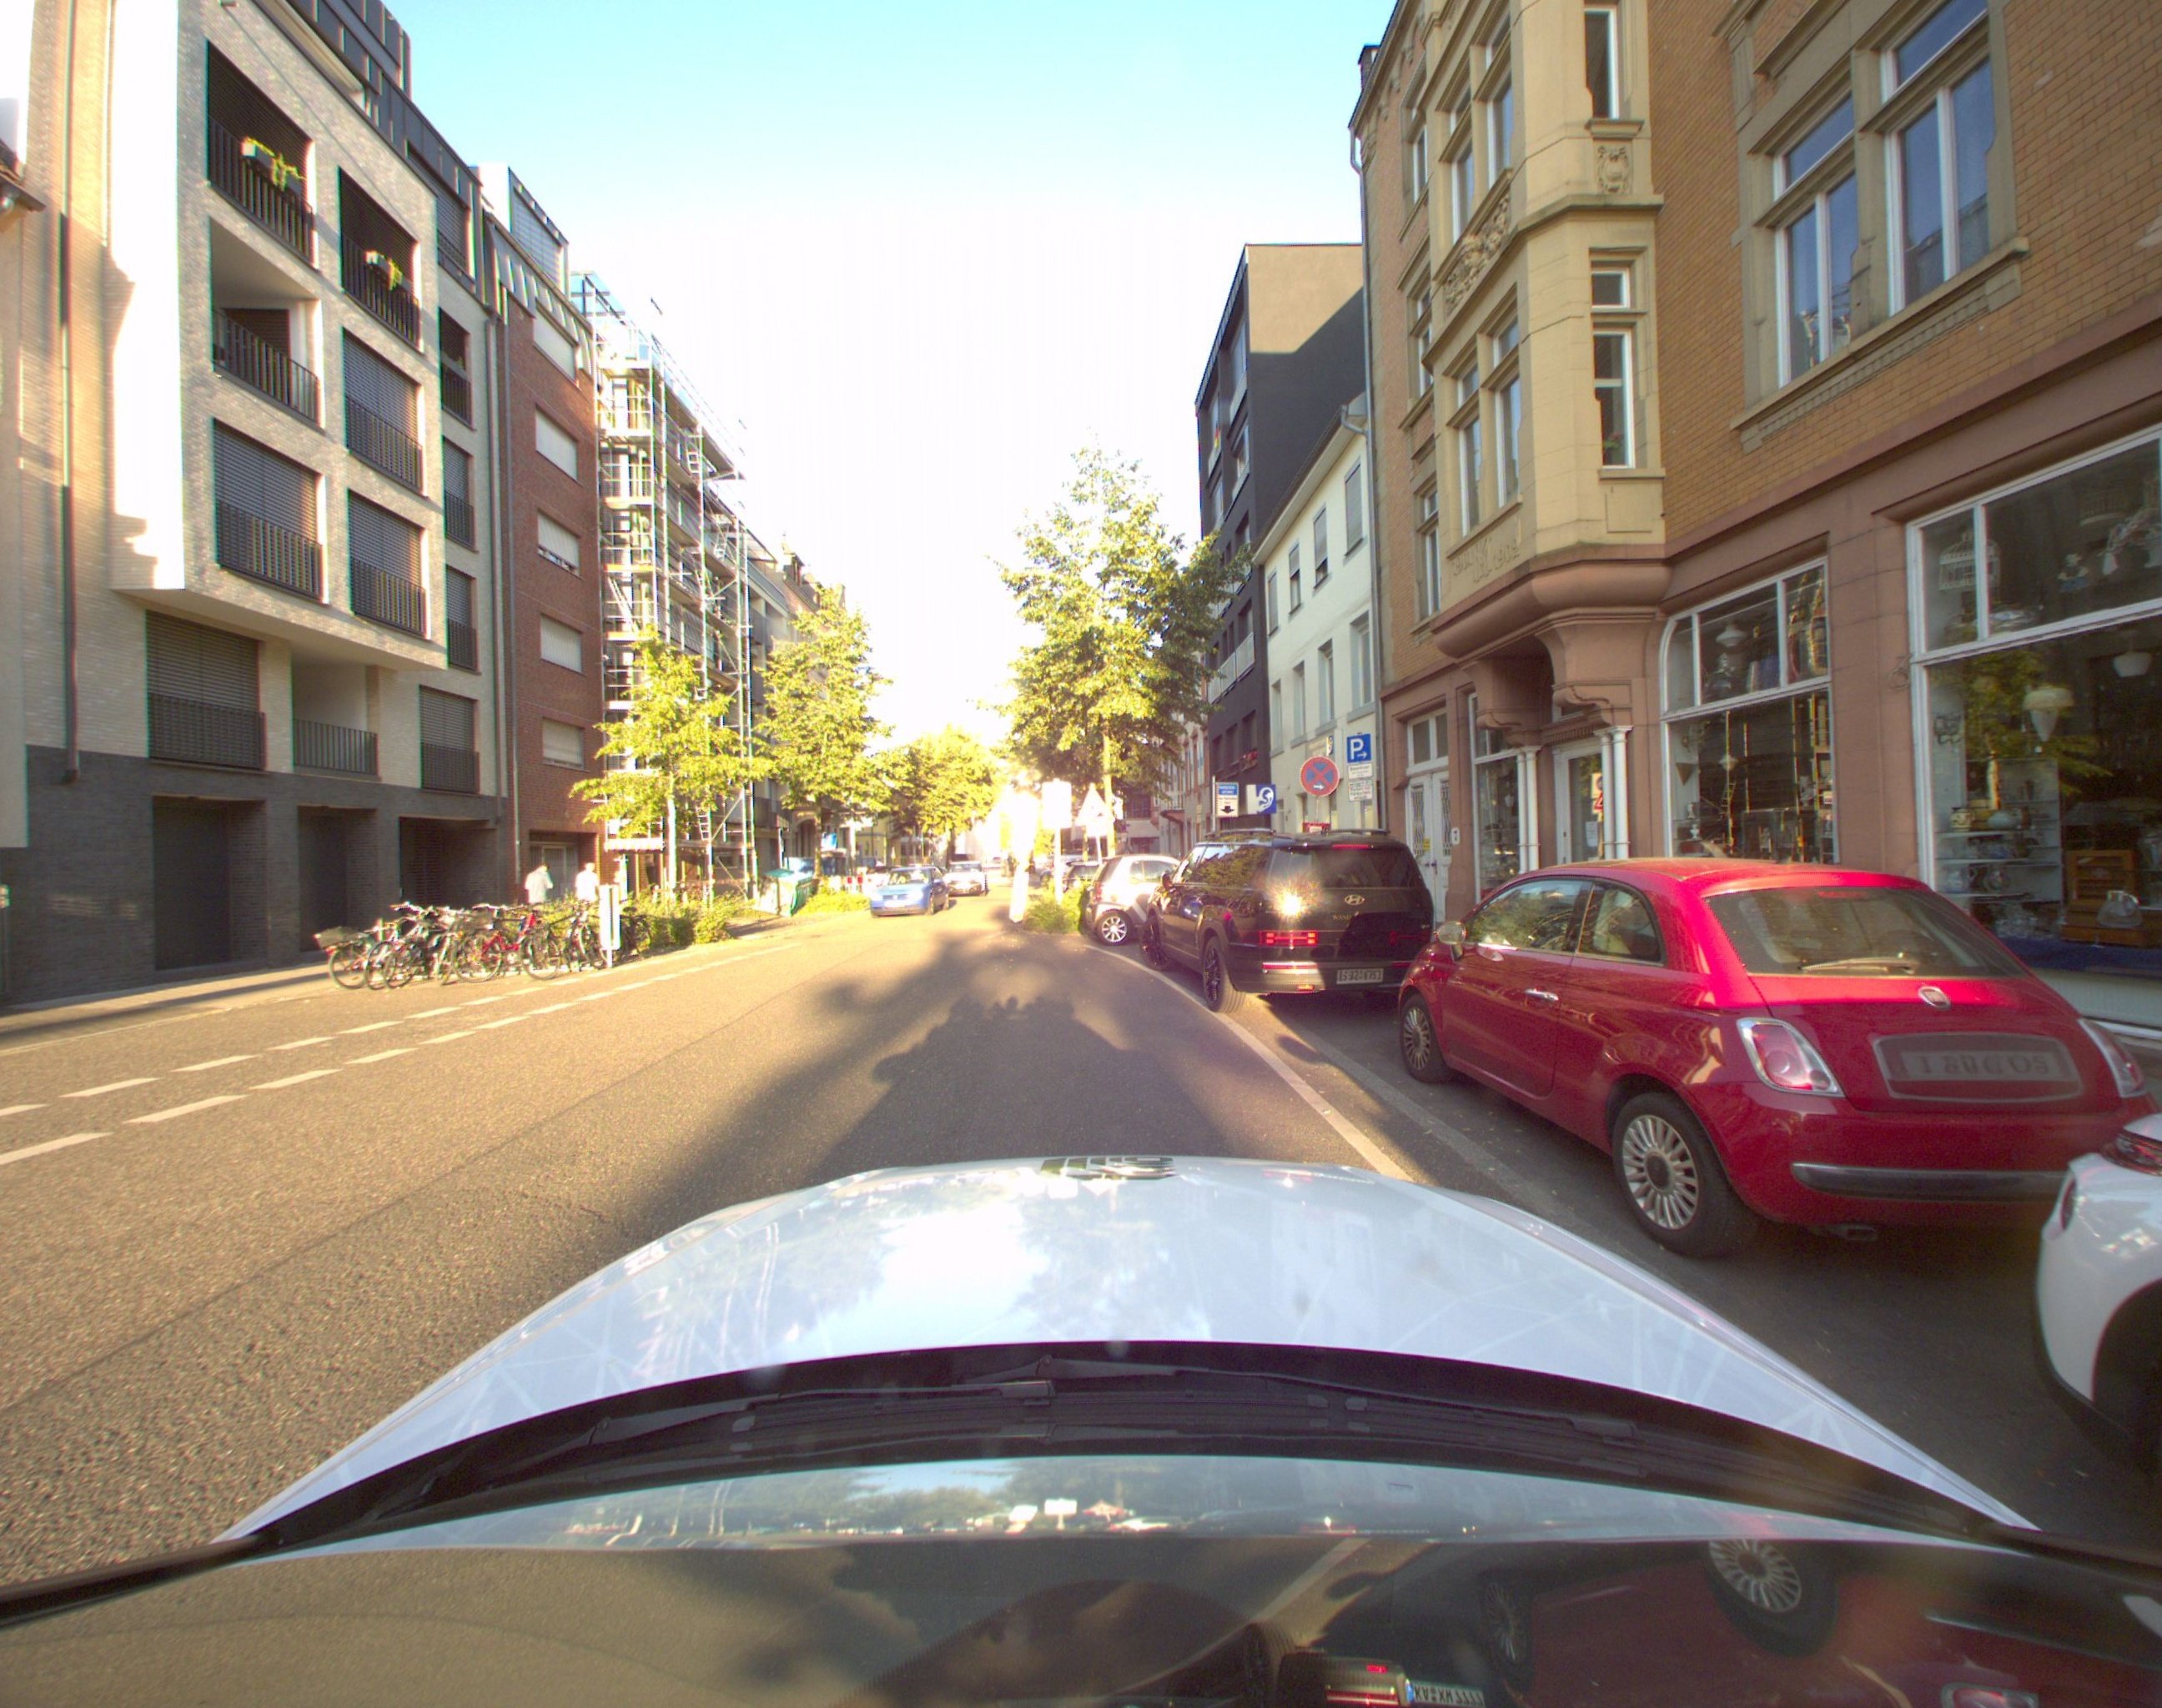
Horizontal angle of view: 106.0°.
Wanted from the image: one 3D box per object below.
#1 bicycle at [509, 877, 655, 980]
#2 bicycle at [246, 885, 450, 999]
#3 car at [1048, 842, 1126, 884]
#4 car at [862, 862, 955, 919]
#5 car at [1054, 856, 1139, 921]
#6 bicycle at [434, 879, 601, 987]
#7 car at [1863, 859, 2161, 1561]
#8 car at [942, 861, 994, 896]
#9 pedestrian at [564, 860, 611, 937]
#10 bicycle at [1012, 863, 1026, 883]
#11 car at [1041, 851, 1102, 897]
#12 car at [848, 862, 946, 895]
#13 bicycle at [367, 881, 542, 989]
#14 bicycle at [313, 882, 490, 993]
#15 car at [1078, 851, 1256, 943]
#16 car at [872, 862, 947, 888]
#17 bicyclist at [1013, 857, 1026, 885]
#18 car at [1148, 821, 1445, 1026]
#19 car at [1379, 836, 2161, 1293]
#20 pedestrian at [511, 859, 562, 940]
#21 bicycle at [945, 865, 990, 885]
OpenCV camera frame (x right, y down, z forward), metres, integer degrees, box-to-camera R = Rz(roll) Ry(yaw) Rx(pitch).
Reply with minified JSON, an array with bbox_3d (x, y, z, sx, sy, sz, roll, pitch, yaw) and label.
[{"bbox_3d":[-7.758,1.073,12.907,0.844,1.351,3.175,-2,0,-10],"label":"bicycle"},{"bbox_3d":[-10.831,1.207,12.260,0.721,1.395,3.141,0,-1,-10],"label":"bicycle"},{"bbox_3d":[0.341,0.444,42.692,3.972,2.013,2.001,-2,0,2],"label":"car"},{"bbox_3d":[-4.961,1.006,24.028,1.833,1.441,4.329,-3,-1,-1],"label":"car"},{"bbox_3d":[0.329,0.916,23.348,1.990,1.668,4.501,0,-1,-5],"label":"car"},{"bbox_3d":[-8.639,1.122,12.729,0.893,1.395,3.154,-1,-1,-10],"label":"bicycle"},{"bbox_3d":[2.984,0.681,0.315,1.662,1.378,3.800,0,-1,-2],"label":"car"},{"bbox_3d":[-5.110,1.074,37.308,1.880,1.480,4.455,0,-1,-2],"label":"car"},{"bbox_3d":[-11.478,1.021,18.967,0.717,1.740,0.736,0,-1,-10],"label":"pedestrian"},{"bbox_3d":[-3.923,1.217,51.672,0.779,1.204,2.017,-2,-1,-4],"label":"bicycle"},{"bbox_3d":[-0.507,0.870,36.666,2.261,1.766,4.501,4,-1,-5],"label":"car"},{"bbox_3d":[-8.394,1.114,37.445,4.090,1.466,1.889,0,-1,-1],"label":"car"},{"bbox_3d":[-9.481,1.143,12.551,0.781,1.373,3.131,0,-1,-10],"label":"bicycle"},{"bbox_3d":[-10.167,1.162,12.399,0.585,1.395,3.149,0,-1,-10],"label":"bicycle"},{"bbox_3d":[1.494,0.739,14.706,2.965,1.536,1.430,0,-1,-7],"label":"car"},{"bbox_3d":[-10.297,1.254,49.105,4.090,1.466,1.889,0,-1,-1],"label":"car"},{"bbox_3d":[-3.887,1.069,51.548,0.779,1.696,1.005,-2,-1,-5],"label":"bicyclist"},{"bbox_3d":[2.010,0.597,9.047,1.822,1.695,4.361,0,-1,-5],"label":"car"},{"bbox_3d":[2.977,0.703,4.318,1.582,1.483,3.265,0,-1,0],"label":"car"},{"bbox_3d":[-12.216,0.995,18.276,0.717,1.767,0.692,0,-1,-10],"label":"pedestrian"},{"bbox_3d":[-8.204,1.532,58.966,3.175,1.351,0.845,-2,-1,-9],"label":"bicycle"}]
